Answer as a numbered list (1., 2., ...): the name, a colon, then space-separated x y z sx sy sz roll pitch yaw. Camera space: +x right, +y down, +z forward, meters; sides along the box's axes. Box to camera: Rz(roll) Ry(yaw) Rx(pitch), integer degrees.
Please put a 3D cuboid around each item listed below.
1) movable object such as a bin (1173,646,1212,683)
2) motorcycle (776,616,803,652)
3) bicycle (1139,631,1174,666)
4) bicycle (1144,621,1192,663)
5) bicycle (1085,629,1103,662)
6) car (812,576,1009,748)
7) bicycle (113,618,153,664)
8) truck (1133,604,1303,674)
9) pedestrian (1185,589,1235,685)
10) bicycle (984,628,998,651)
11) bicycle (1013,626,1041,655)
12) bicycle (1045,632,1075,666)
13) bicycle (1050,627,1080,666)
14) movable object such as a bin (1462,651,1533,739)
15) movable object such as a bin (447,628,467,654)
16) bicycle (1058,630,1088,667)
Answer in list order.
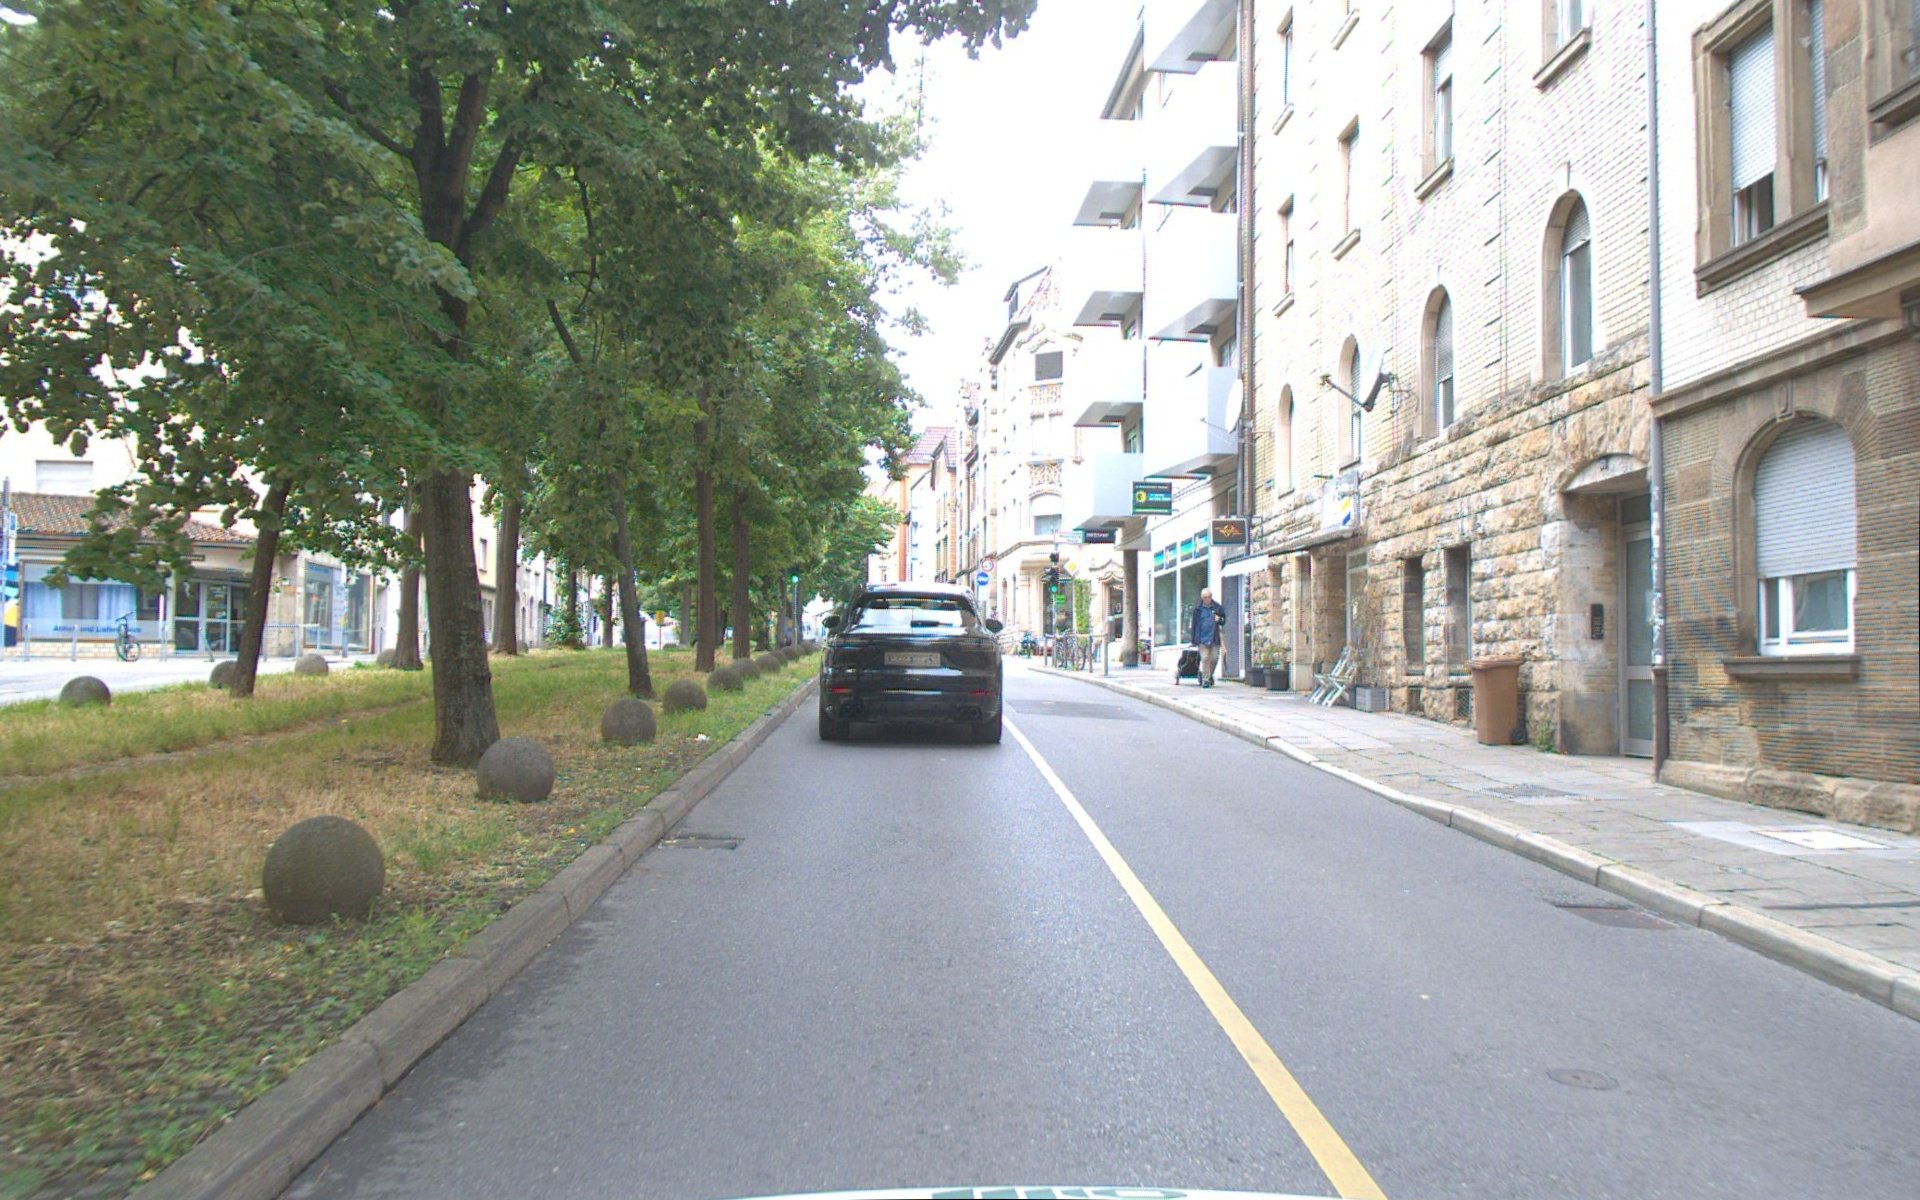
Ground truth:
1. movable object such as a bin: 4.347 1.209 30.955 0.595 0.680 0.858 0 -2 -2
2. motorcycle: -7.118 1.436 69.216 0.999 1.472 2.245 -1 -2 -3
3. bicycle: 5.971 1.472 50.330 0.313 1.061 1.750 2 -2 -20
4. bicycle: 6.146 1.247 48.944 0.315 1.220 1.739 2 -2 -34
5. bicycle: 5.417 1.840 67.112 0.438 1.182 1.833 0 4 -5
6. car: -0.531 0.621 18.596 1.953 1.695 3.999 1 0 -1
7. bicycle: -20.721 1.021 41.467 0.752 1.104 2.021 3 -2 -24
8. truck: 9.173 1.387 59.022 5.464 2.170 2.373 3 -1 -13
9. pedestrian: 4.543 0.673 30.114 0.736 1.723 0.858 0 -2 -2
10. bicycle: 1.516 1.926 80.116 0.438 1.055 2.246 0 -2 -5
11. bicycle: 2.786 1.694 69.027 0.861 1.149 2.977 1 -2 -3
12. bicycle: 2.813 1.378 46.632 0.281 0.948 1.753 2 -2 -15
13. bicycle: 2.976 1.328 46.960 0.281 1.073 1.753 2 -2 -15
14. movable object such as a bin: 5.750 1.017 17.709 0.582 0.920 0.502 1 -4 -1
15. movable object such as a bin: -21.287 1.728 69.987 0.679 1.078 0.689 1 -3 -8
16. bicycle: 2.987 1.290 43.807 0.557 0.948 1.773 1 -2 -3
